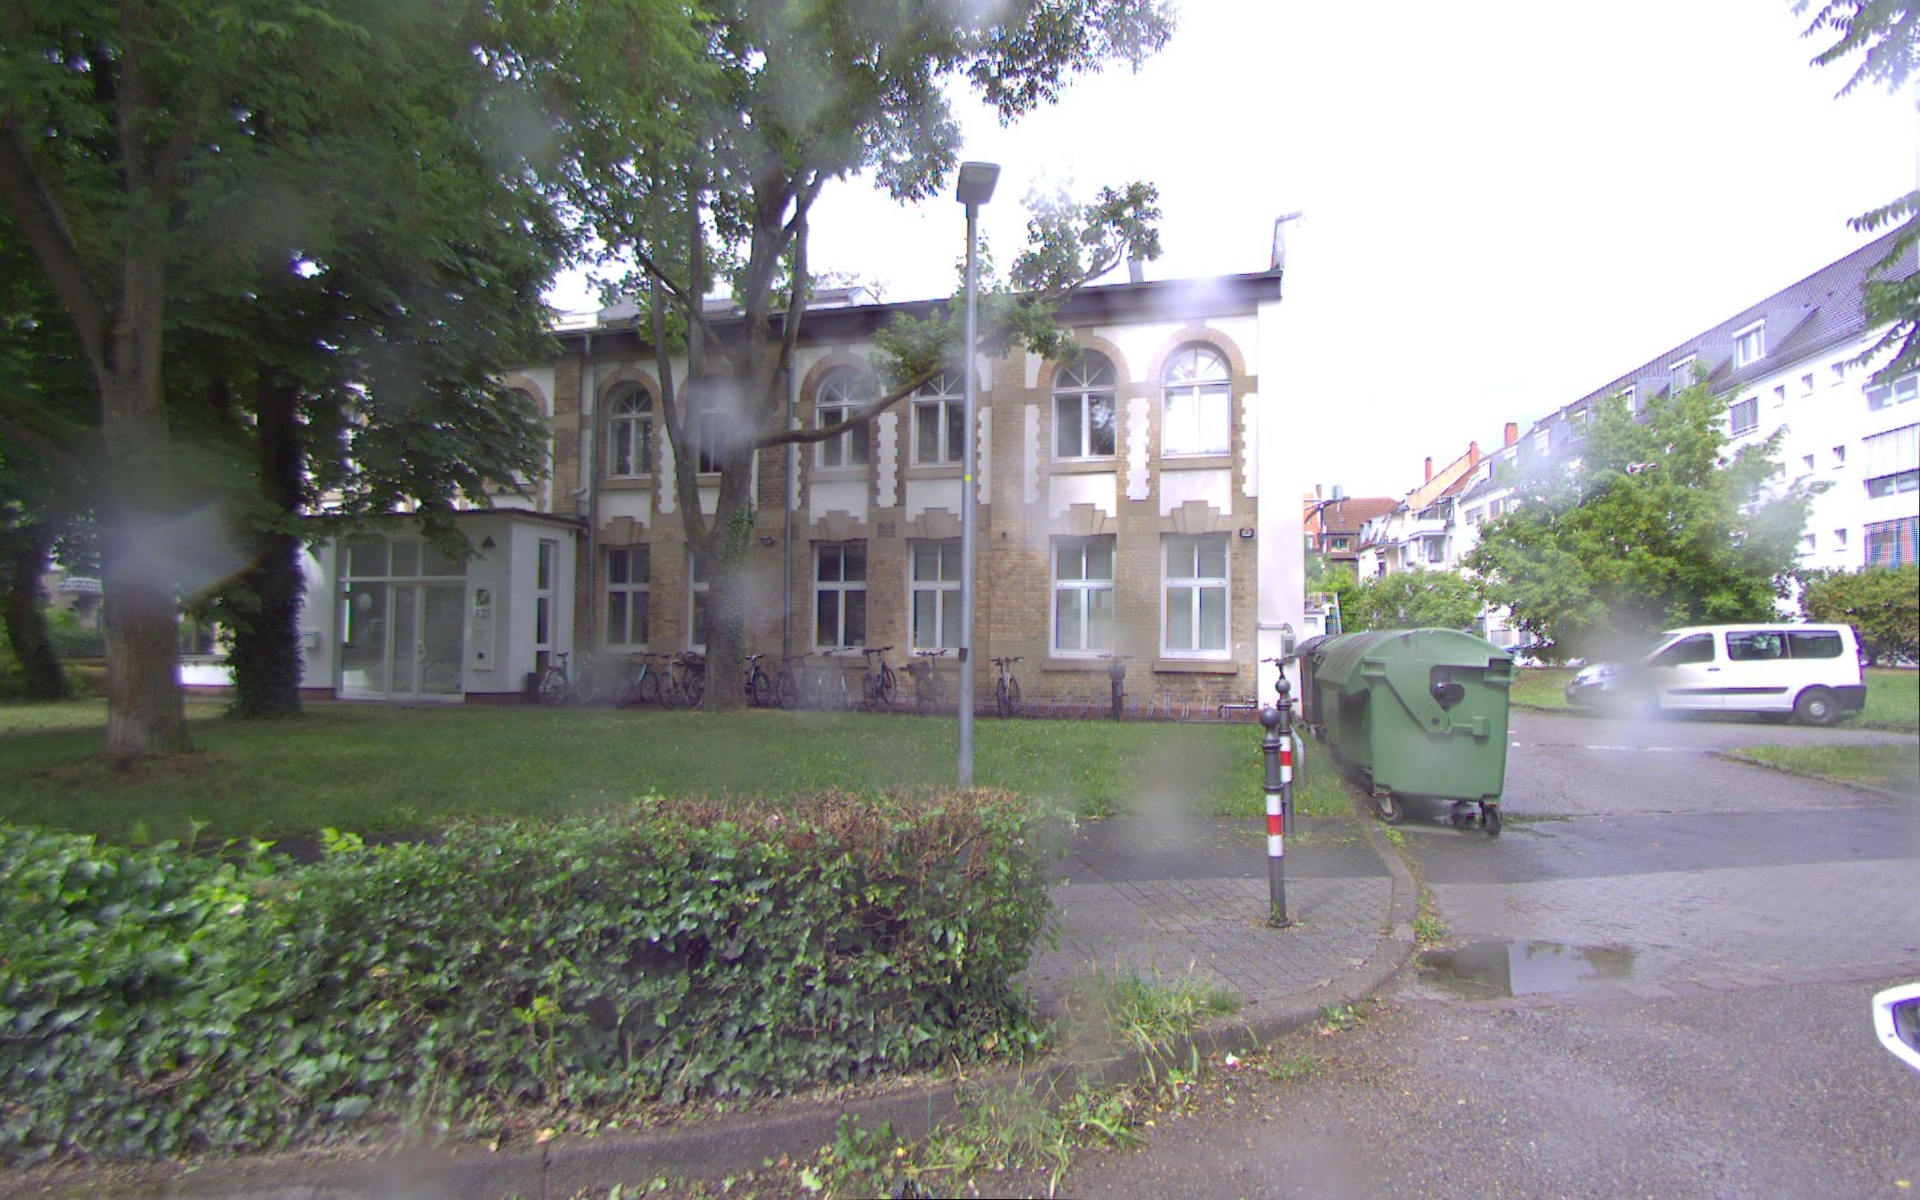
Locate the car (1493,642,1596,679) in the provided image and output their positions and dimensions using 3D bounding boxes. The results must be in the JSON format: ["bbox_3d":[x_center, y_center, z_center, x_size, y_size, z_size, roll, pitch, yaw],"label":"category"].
[{"bbox_3d":[24.792,2.584,42.708,3.357,1.445,1.689,-2,-4,13],"label":"car"}]

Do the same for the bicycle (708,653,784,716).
[{"bbox_3d":[-4.041,1.576,19.085,0.605,1.130,1.928,-1,-3,15],"label":"bicycle"}]

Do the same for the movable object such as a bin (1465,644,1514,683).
[{"bbox_3d":[18.763,2.263,35.632,1.271,1.354,1.197,-1,-3,17],"label":"movable object such as a bin"}]

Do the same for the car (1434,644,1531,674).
[{"bbox_3d":[26.319,2.992,50.709,3.919,1.477,1.775,-1,-3,10],"label":"car"}]

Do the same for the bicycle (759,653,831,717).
[{"bbox_3d":[-3.072,1.570,18.896,0.605,1.130,1.928,-1,-3,15],"label":"bicycle"}]

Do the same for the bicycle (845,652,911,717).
[{"bbox_3d":[-1.475,1.525,18.461,0.605,1.130,1.928,-1,-3,15],"label":"bicycle"}]

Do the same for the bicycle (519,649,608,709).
[{"bbox_3d":[-7.810,1.548,19.869,0.605,1.130,1.928,-1,-3,15],"label":"bicycle"}]

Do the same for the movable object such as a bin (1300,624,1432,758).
[{"bbox_3d":[4.839,1.073,12.113,1.144,1.502,1.498,-1,-3,10],"label":"movable object such as a bin"}]

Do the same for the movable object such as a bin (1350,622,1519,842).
[{"bbox_3d":[3.669,0.946,7.819,1.084,1.492,1.484,0,-2,25],"label":"movable object such as a bin"}]

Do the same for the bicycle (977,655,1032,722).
[{"bbox_3d":[0.808,1.548,17.877,0.605,1.130,1.789,-1,-3,15],"label":"bicycle"}]

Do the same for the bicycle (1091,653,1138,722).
[{"bbox_3d":[2.679,1.485,17.308,0.605,1.130,1.789,-1,-3,15],"label":"bicycle"}]

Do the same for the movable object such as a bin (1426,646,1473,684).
[{"bbox_3d":[17.478,2.317,35.926,1.315,1.309,1.096,-1,-2,17],"label":"movable object such as a bin"}]

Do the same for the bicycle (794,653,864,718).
[{"bbox_3d":[-2.402,1.556,18.633,0.605,1.130,1.928,-1,-3,15],"label":"bicycle"}]

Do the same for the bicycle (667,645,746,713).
[{"bbox_3d":[-4.817,1.473,19.241,0.605,1.192,1.927,-1,-1,15],"label":"bicycle"}]

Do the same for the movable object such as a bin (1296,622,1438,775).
[{"bbox_3d":[4.287,0.996,10.723,1.144,1.502,1.404,0,-2,11],"label":"movable object such as a bin"}]

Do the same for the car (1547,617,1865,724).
[{"bbox_3d":[15.013,1.389,20.588,4.792,1.950,2.101,0,-3,17],"label":"car"}]

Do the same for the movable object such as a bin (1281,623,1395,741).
[{"bbox_3d":[5.111,1.101,13.722,1.144,1.502,1.596,-1,-3,10],"label":"movable object such as a bin"}]

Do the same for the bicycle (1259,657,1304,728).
[{"bbox_3d":[5.336,1.515,16.729,0.605,1.130,1.521,-1,-3,15],"label":"bicycle"}]

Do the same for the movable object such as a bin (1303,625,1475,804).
[{"bbox_3d":[3.927,0.997,9.345,1.144,1.503,1.404,0,-1,9],"label":"movable object such as a bin"}]

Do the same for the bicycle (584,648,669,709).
[{"bbox_3d":[-6.443,1.509,19.517,0.605,1.130,1.928,-1,-3,15],"label":"bicycle"}]

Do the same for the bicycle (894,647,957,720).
[{"bbox_3d":[-0.598,1.489,18.222,0.605,1.240,1.928,-1,-3,15],"label":"bicycle"}]

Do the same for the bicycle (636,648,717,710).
[{"bbox_3d":[-5.463,1.518,19.481,0.605,1.130,1.928,-1,-3,15],"label":"bicycle"}]
